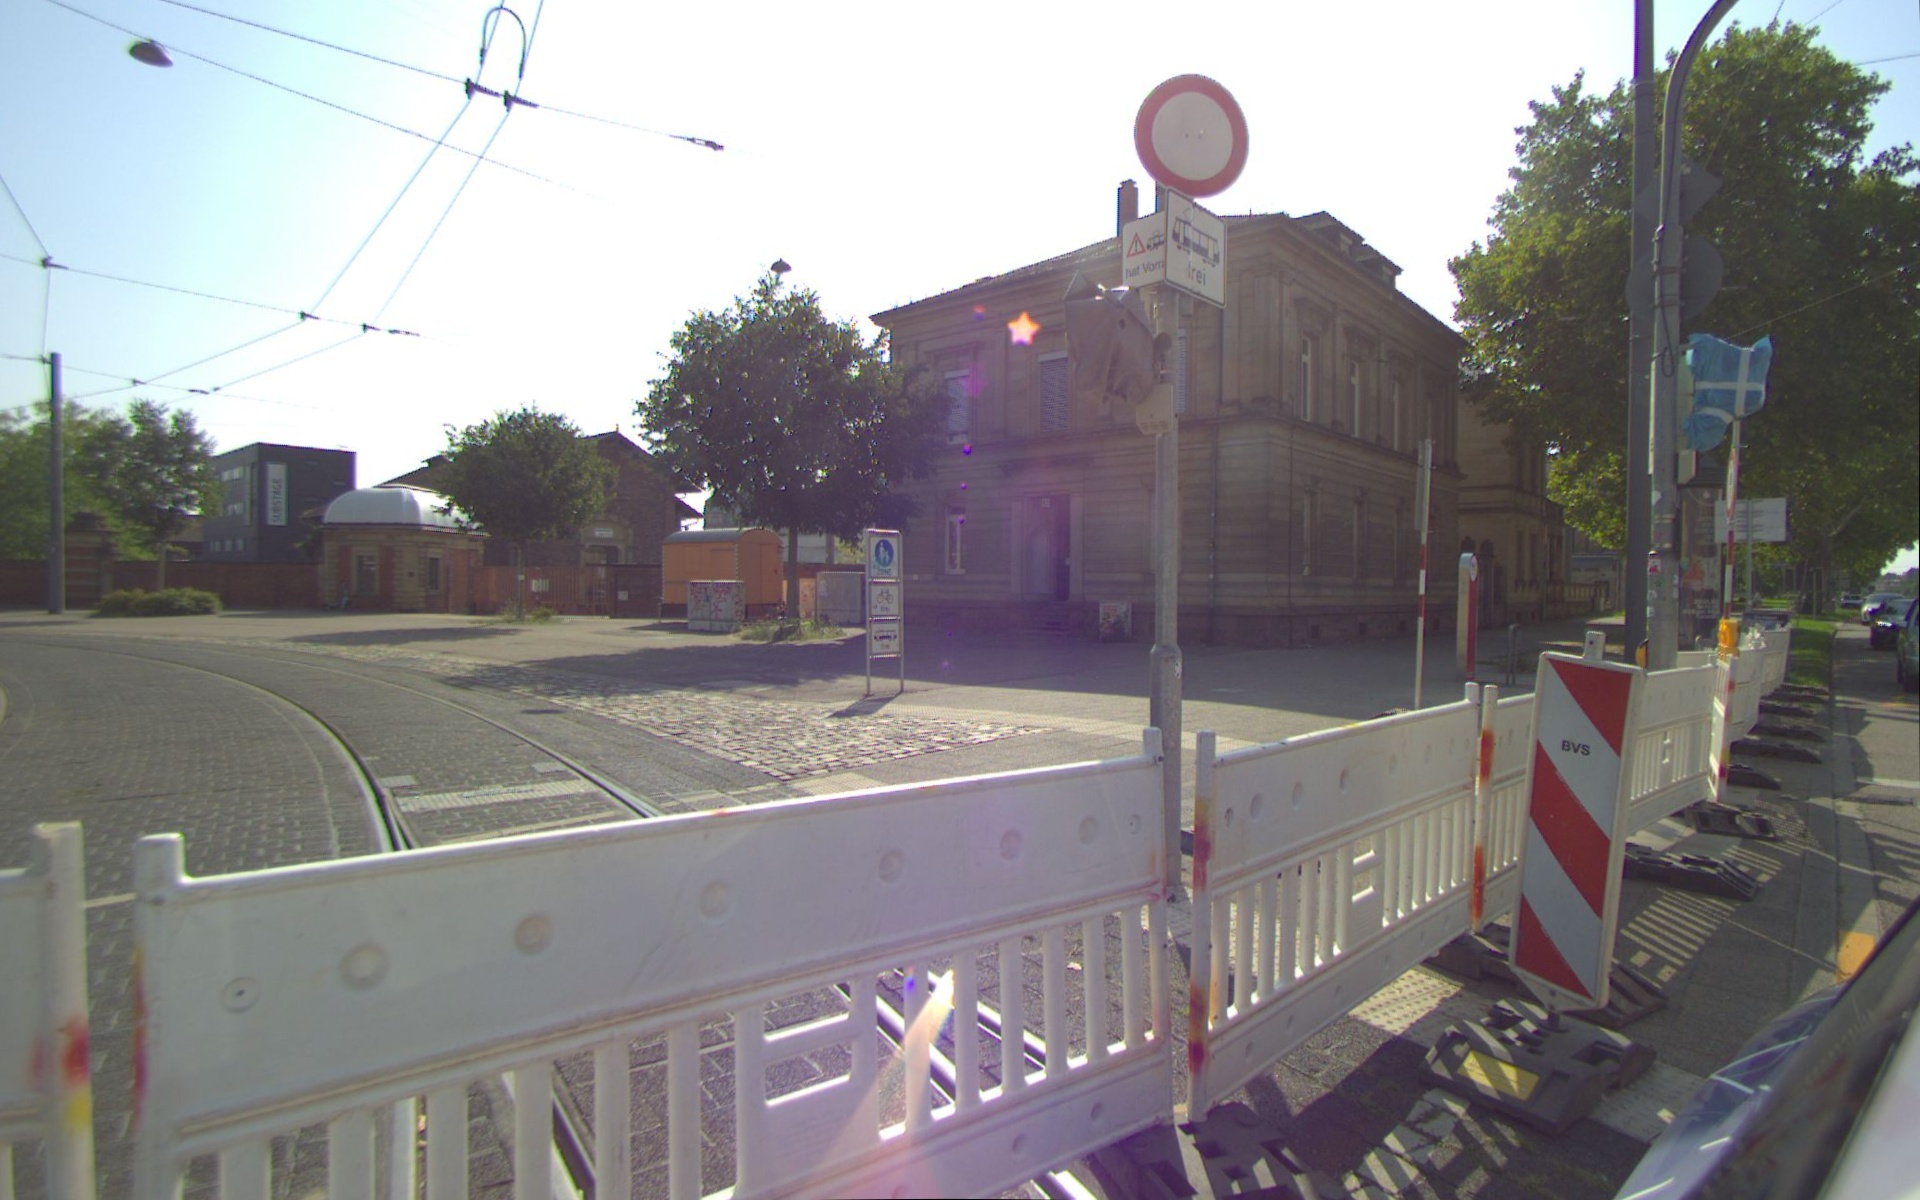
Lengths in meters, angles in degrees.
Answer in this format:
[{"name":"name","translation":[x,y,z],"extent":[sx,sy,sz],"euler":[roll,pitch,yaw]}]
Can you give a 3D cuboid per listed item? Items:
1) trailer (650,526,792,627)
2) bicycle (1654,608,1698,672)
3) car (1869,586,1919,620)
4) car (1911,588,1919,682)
[{"name":"trailer","translation":[-7.876,-0.800,33.319],"extent":[3.972,3.106,2.527],"euler":[1,2,34]},{"name":"bicycle","translation":[11.964,0.652,16.901],"extent":[0.410,0.999,1.354],"euler":[1,1,43]},{"name":"car","translation":[50.186,0.155,54.228],"extent":[1.991,1.717,5.149],"euler":[1,1,40]},{"name":"car","translation":[19.145,0.657,18.785],"extent":[1.992,1.717,5.147],"euler":[2,1,41]}]
